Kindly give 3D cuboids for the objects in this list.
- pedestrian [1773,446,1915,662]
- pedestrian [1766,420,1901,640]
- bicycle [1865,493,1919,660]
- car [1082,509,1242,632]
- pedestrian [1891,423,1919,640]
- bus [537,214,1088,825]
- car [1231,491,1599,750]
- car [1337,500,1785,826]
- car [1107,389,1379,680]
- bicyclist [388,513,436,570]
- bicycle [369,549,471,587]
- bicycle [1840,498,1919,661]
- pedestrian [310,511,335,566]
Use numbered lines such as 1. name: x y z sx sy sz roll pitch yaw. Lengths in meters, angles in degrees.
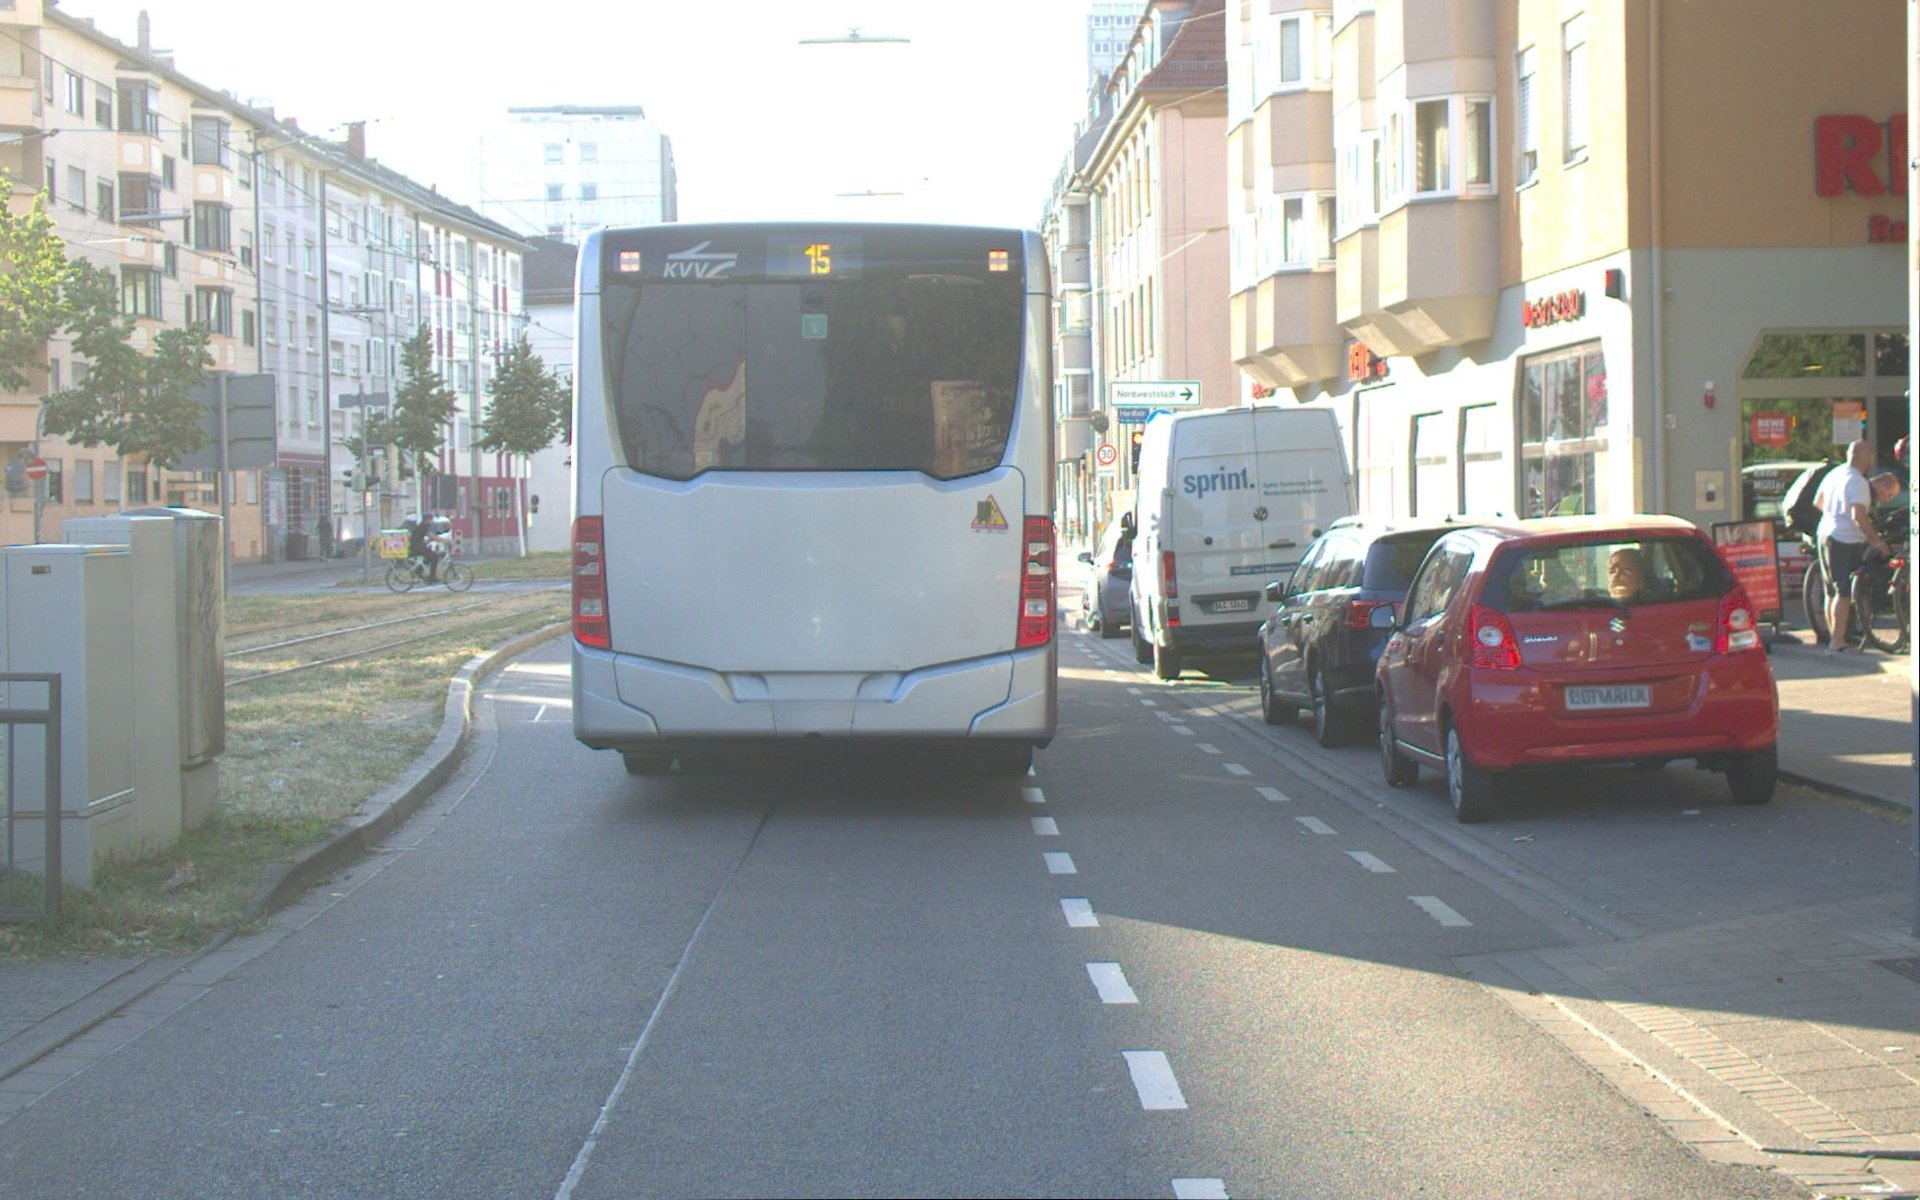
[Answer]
1. pedestrian: 6.989 -0.375 27.205 0.659 1.631 0.990 -5 2 -8
2. pedestrian: 7.260 -0.591 28.599 0.806 1.745 0.768 -4 2 0
3. bicycle: 7.571 -0.199 25.846 1.578 1.222 0.651 -2 2 -39
4. car: 2.661 -0.433 46.106 1.838 1.531 4.230 -1 1 0
5. pedestrian: 8.110 -0.576 28.315 0.527 1.775 0.651 -5 2 -8
6. bus: -0.792 -0.514 21.698 2.738 3.045 8.854 1 1 -1
7. car: 3.055 0.075 23.998 1.696 1.525 4.653 -4 1 -2
8. car: 3.087 0.259 18.317 1.569 1.489 3.626 -3 1 -2
9. car: 2.739 -0.676 34.653 2.017 2.542 5.785 -4 1 -1
10. bicyclist: -11.422 -1.219 71.628 0.932 1.157 0.644 -1 1 -11
11. bicycle: -11.254 -0.667 71.666 2.062 0.730 0.763 -1 1 -11
12. bicycle: 7.426 -0.173 26.585 1.516 1.222 0.403 -2 2 -41
13. pedestrian: -23.661 -2.295 127.586 0.786 2.007 0.891 -1 1 -4
